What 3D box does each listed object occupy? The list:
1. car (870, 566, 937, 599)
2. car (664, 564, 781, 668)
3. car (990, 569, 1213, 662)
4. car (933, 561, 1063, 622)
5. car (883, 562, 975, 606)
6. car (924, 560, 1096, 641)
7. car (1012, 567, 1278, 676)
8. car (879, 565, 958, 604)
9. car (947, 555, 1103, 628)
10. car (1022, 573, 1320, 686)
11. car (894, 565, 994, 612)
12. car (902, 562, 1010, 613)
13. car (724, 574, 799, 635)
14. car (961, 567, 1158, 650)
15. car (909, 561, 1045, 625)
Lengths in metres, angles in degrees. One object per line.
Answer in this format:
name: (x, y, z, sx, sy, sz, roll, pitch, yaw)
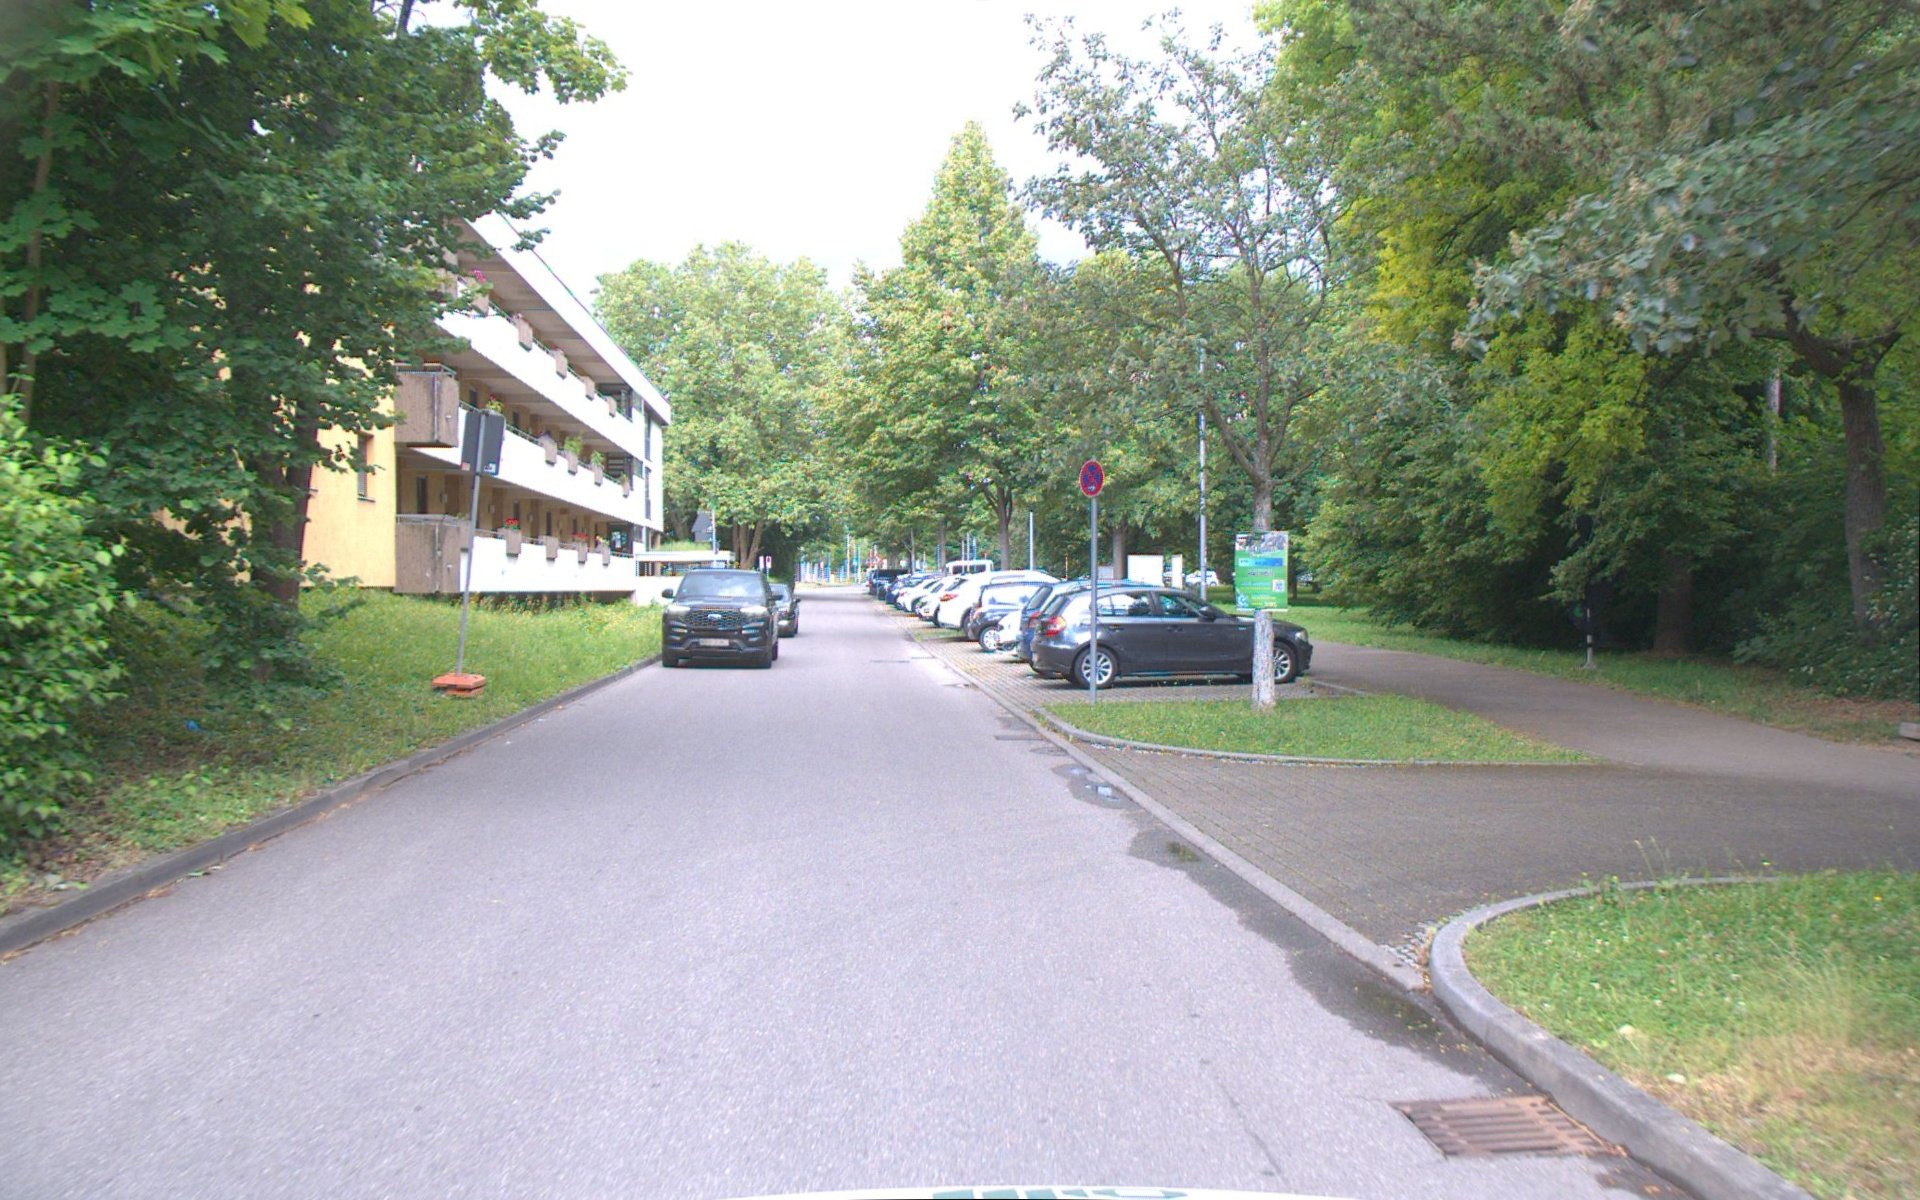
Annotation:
car: (-3.558, -1.125, 104.318, 3.988, 1.801, 1.819, -4, 1, -8)
car: (-4.318, 0.251, 30.632, 1.930, 1.778, 4.333, 0, 1, -5)
car: (2.671, 0.270, 31.706, 3.984, 1.595, 1.820, -2, 1, -6)
car: (1.235, -0.295, 54.767, 3.988, 1.716, 1.819, -4, 1, -8)
car: (-1.437, -0.732, 76.195, 3.988, 1.716, 1.819, -4, 1, -8)
car: (1.232, -0.005, 41.638, 3.988, 1.716, 1.819, -4, 1, -8)
car: (2.946, 0.344, 26.905, 3.984, 1.596, 1.820, -2, -1, -6)
car: (-2.272, -0.846, 89.117, 3.988, 1.801, 1.819, -4, 1, -8)
car: (1.764, -0.239, 45.808, 3.988, 1.716, 1.819, -4, 1, -8)
car: (3.024, 0.423, 24.293, 3.984, 1.459, 1.998, -2, -1, -6)
car: (-0.705, -0.509, 70.789, 3.988, 1.716, 1.819, -4, 1, -8)
car: (-0.170, -0.519, 65.314, 3.988, 1.716, 1.819, -4, 1, -8)
car: (-5.427, 0.098, 45.676, 1.930, 1.603, 4.333, 0, 1, -5)
car: (2.161, 0.170, 36.465, 3.988, 1.514, 1.819, -4, 1, -8)
car: (0.501, -0.236, 52.128, 3.988, 1.716, 1.819, -4, 1, -8)
